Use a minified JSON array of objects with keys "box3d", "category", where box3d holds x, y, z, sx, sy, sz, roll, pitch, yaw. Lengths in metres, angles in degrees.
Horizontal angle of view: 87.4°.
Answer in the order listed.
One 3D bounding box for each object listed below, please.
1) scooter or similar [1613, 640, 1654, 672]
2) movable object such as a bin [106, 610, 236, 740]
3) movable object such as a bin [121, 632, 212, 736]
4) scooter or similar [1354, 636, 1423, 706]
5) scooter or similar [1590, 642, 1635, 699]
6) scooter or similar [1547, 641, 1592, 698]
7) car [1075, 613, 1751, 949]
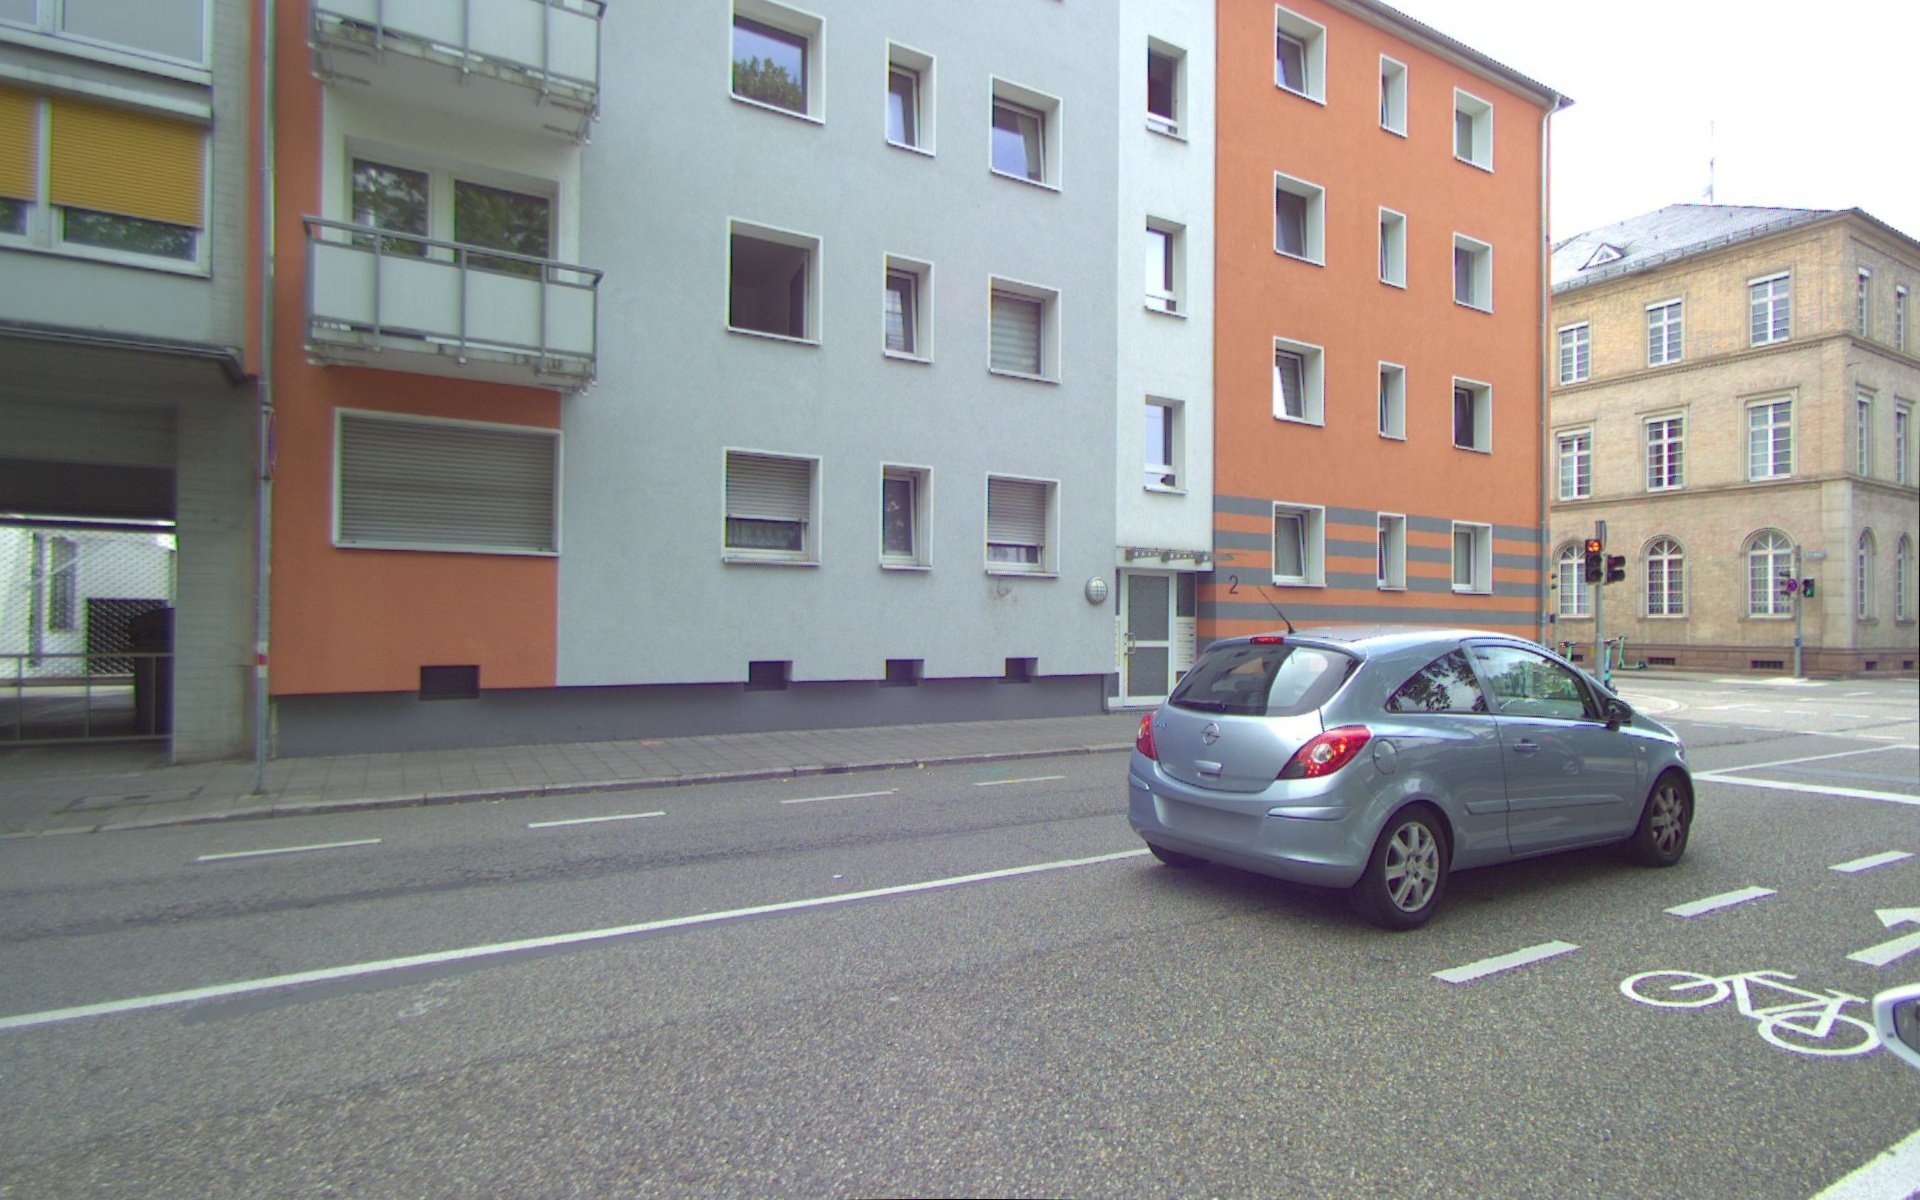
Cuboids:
[{"box3d":[23.002,1.912,34.306,0.375,1.063,1.133,3,-2,-29],"category":"scooter or similar"},{"box3d":[-9.578,0.873,12.259,1.040,1.483,1.185,1,-1,-29],"category":"movable object such as a bin"},{"box3d":[-9.046,0.935,11.475,0.701,1.140,0.639,1,-1,-29],"category":"movable object such as a bin"},{"box3d":[7.670,1.271,17.967,1.373,1.199,0.376,3,-2,-30],"category":"scooter or similar"},{"box3d":[13.633,1.468,20.981,1.130,1.159,0.376,3,-2,-34],"category":"scooter or similar"},{"box3d":[12.885,1.469,21.223,1.130,1.162,0.376,3,-2,-34],"category":"scooter or similar"},{"box3d":[2.892,0.851,6.164,4.205,1.439,1.704,1,-3,-31],"category":"car"}]
